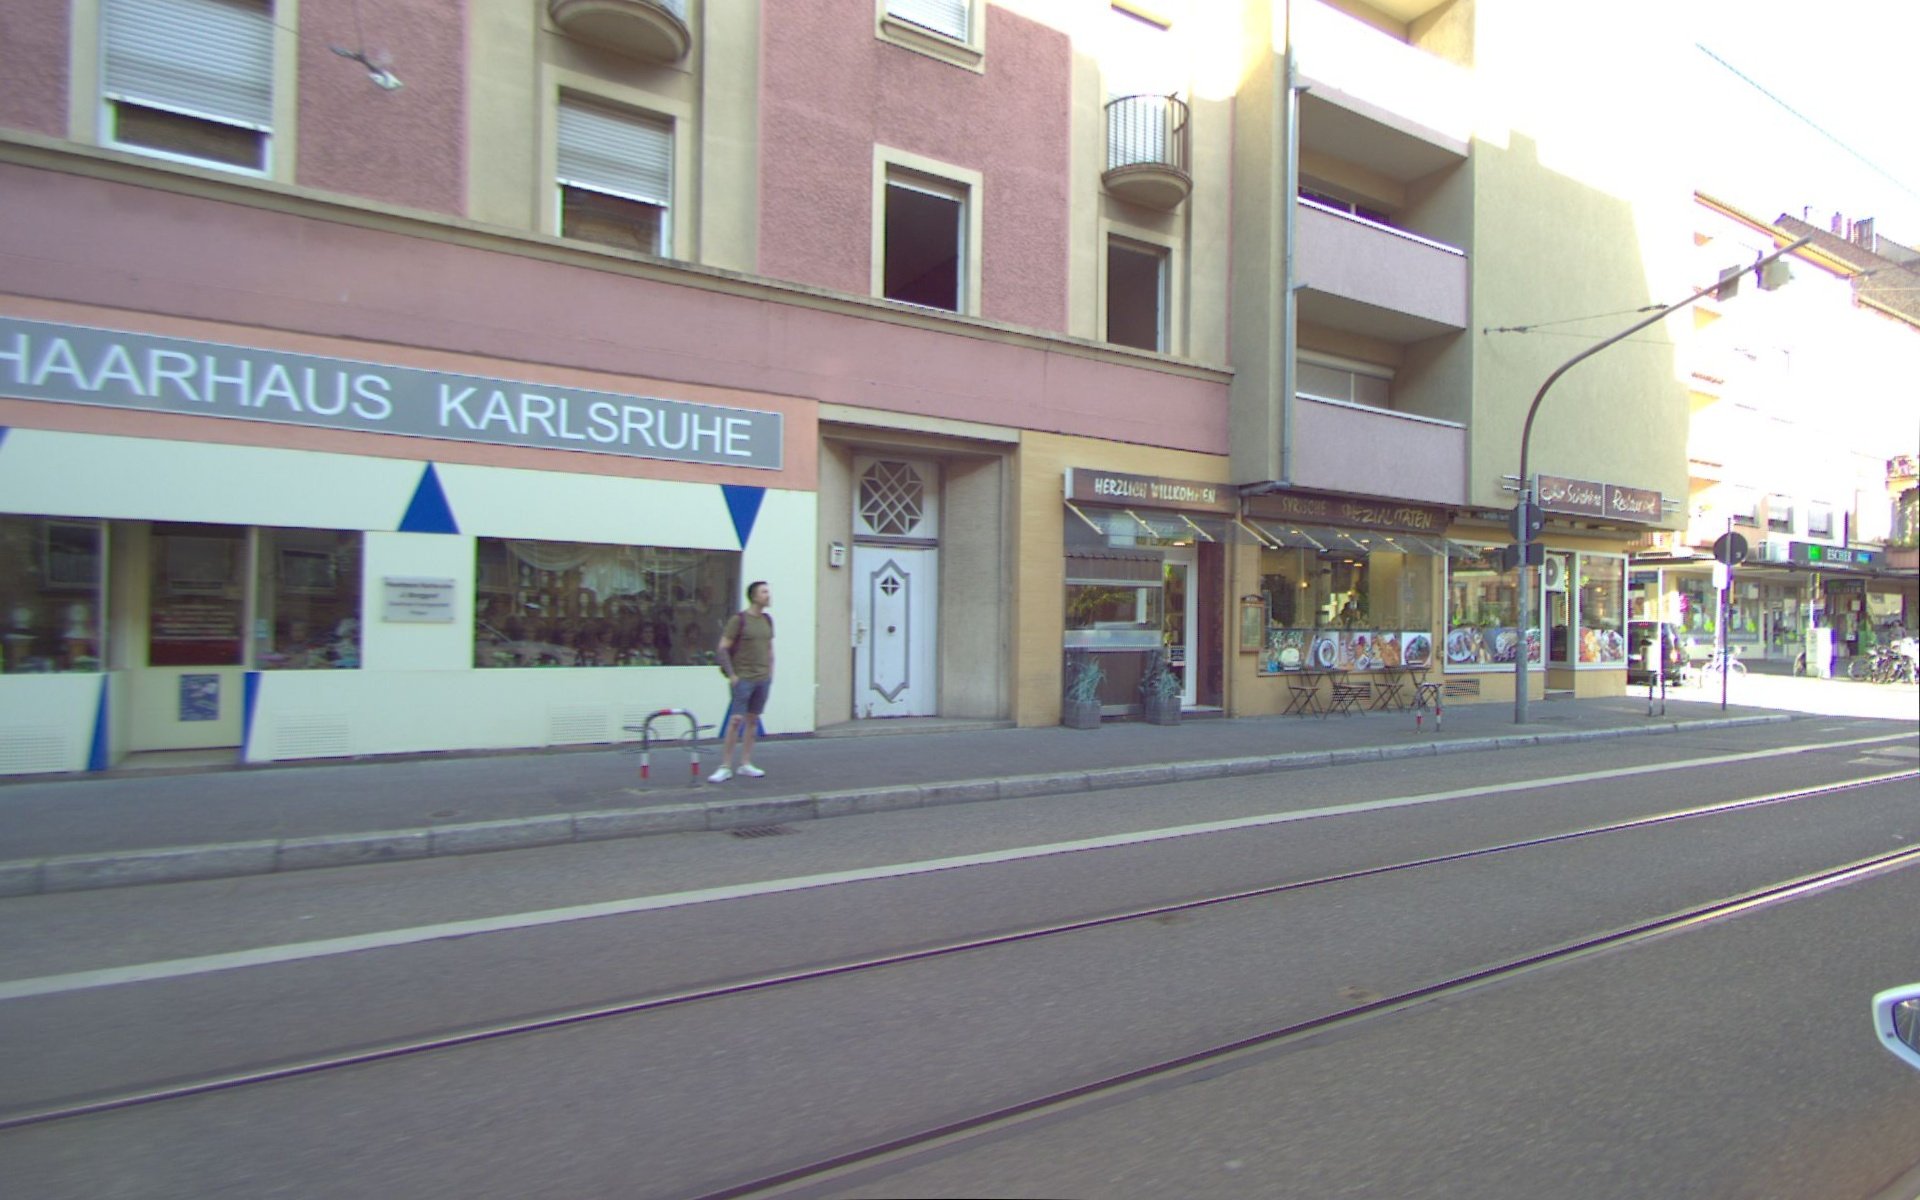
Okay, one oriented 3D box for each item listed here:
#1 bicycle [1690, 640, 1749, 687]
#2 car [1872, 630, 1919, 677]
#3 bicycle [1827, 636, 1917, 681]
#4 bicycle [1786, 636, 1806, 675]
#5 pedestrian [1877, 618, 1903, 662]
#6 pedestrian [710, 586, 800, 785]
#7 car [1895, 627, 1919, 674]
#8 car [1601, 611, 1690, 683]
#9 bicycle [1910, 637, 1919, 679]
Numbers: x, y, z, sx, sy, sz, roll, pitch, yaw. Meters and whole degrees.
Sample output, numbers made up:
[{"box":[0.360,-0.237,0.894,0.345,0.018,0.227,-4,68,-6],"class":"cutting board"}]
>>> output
[{"box":[21.003,1.725,27.767,2.413,1.124,0.676,-1,1,-37],"class":"bicycle"},{"box":[29.242,1.603,29.423,3.406,1.355,1.623,1,0,26],"class":"car"},{"box":[25.786,1.633,28.463,0.670,1.124,2.437,-1,1,10],"class":"bicycle"},{"box":[25.209,1.651,30.290,0.398,1.124,1.830,0,-2,38],"class":"bicycle"},{"box":[36.356,1.550,39.262,0.634,1.674,0.566,1,0,-30],"class":"pedestrian"},{"box":[-1.849,0.742,9.052,0.609,1.708,0.560,1,0,-32],"class":"pedestrian"},{"box":[31.612,1.610,30.969,3.722,1.418,1.753,1,0,27],"class":"car"},{"box":[20.560,1.365,30.066,1.821,1.841,4.338,-3,0,39],"class":"car"},{"box":[26.869,1.634,27.572,0.671,1.138,1.884,0,1,29],"class":"bicycle"}]
